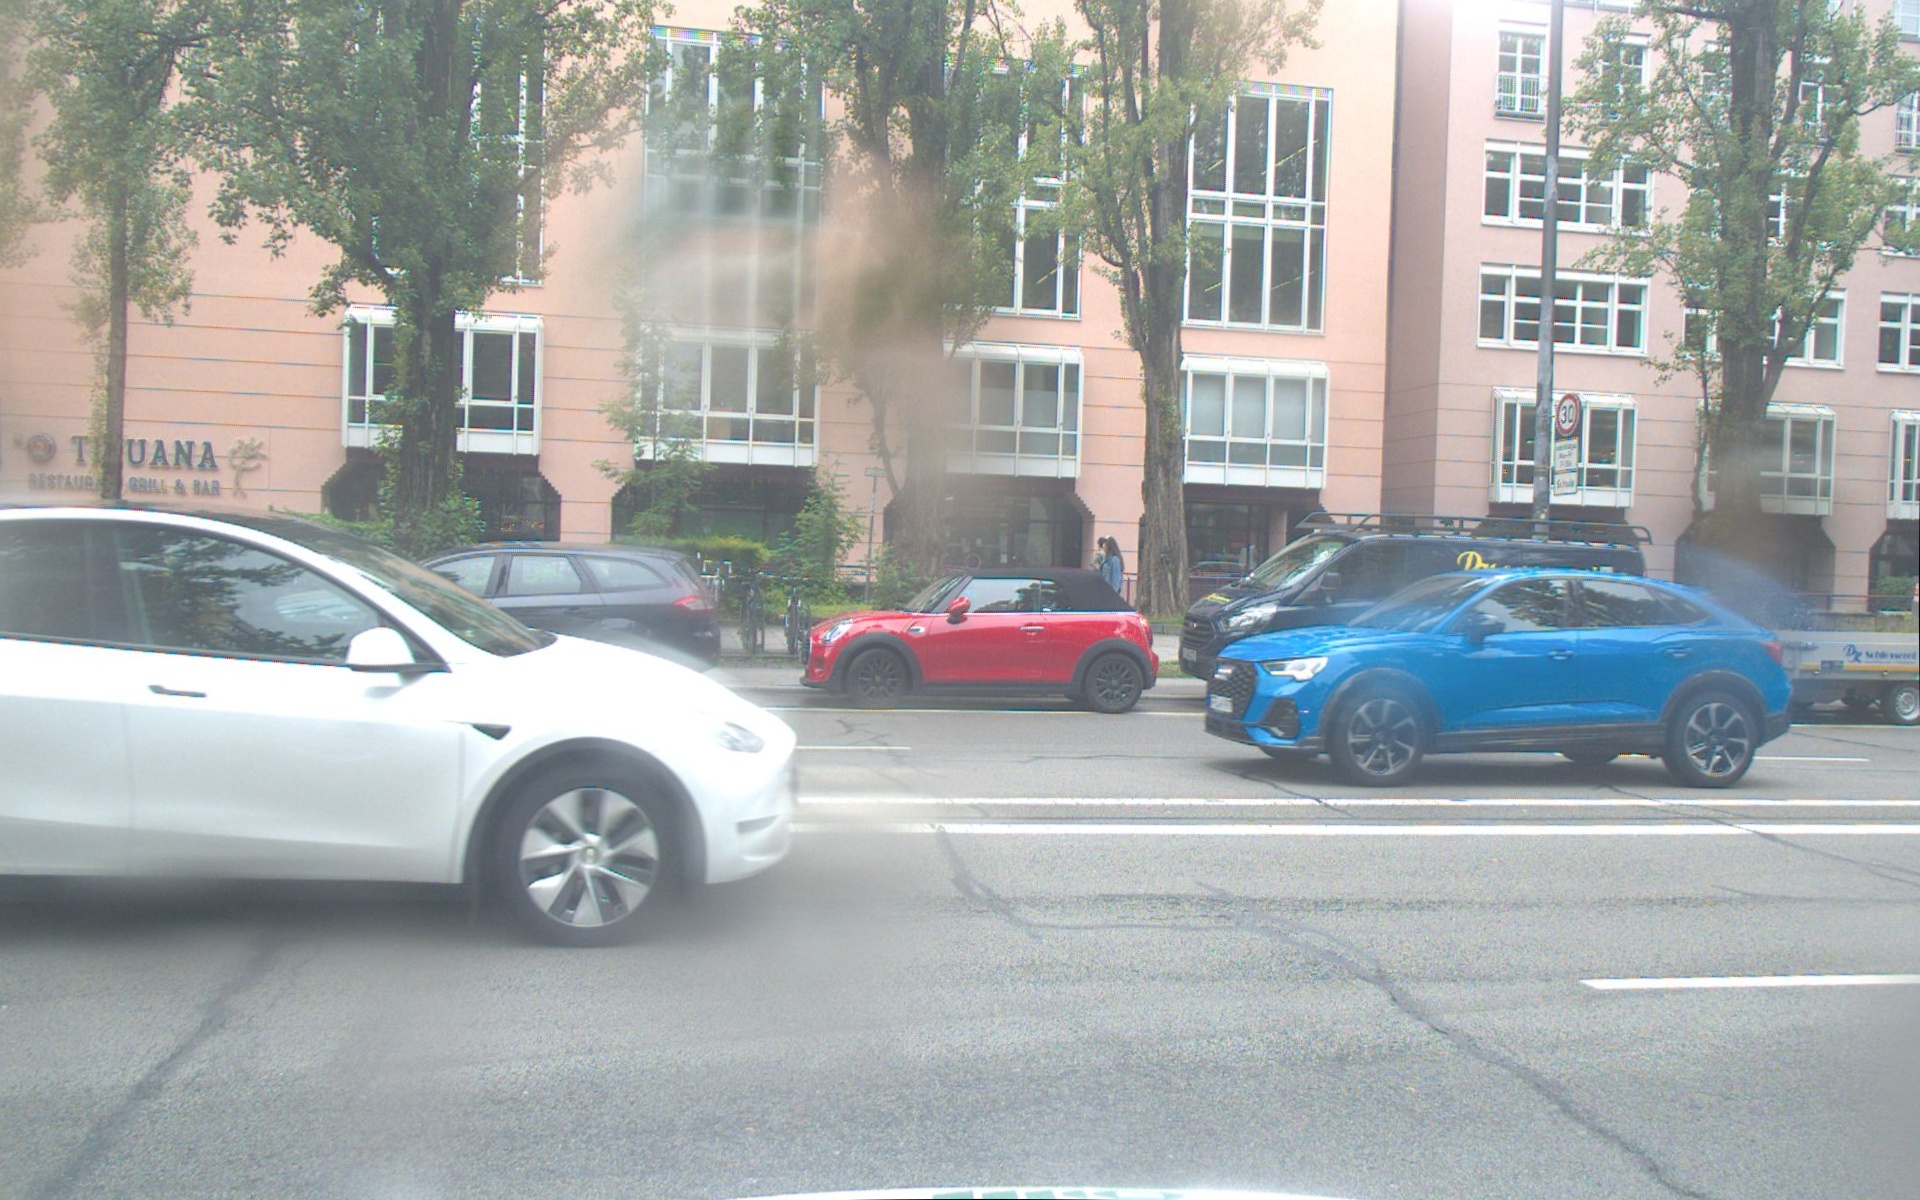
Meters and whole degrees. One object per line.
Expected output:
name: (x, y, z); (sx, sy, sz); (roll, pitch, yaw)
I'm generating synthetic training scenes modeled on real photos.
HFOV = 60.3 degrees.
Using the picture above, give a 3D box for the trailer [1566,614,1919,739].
trailer: (10.615, 0.906, 19.776); (5.909, 1.220, 2.400); (2, 2, -10)

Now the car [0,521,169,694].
car: (-10.145, -0.001, 15.670); (4.419, 1.555, 1.789); (1, 2, -11)

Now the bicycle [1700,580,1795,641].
bicycle: (16.316, 0.204, 34.311); (0.661, 1.144, 2.102); (1, 2, -10)

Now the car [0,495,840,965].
car: (-2.880, 0.421, 6.815); (4.540, 1.602, 1.996); (1, 3, -11)

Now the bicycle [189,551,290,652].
bicycle: (-8.756, -0.010, 20.164); (0.661, 1.144, 1.985); (1, 2, -10)

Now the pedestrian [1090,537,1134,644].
pedestrian: (2.451, -0.162, 26.671); (0.547, 1.692, 0.620); (2, 2, -7)

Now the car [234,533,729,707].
car: (-4.654, 0.177, 16.642); (4.525, 1.555, 1.789); (1, 2, -11)

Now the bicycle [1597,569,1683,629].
bicycle: (13.961, -0.042, 34.021); (0.661, 1.144, 1.985); (1, 2, -10)

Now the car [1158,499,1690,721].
car: (5.135, 0.103, 18.583); (5.380, 2.235, 2.019); (1, 2, -11)

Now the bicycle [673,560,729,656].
bicycle: (-3.326, 0.083, 21.173); (0.661, 1.144, 1.738); (1, 2, -10)

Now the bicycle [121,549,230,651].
bicycle: (-9.457, -0.026, 20.006); (0.661, 1.144, 1.985); (1, 2, -10)

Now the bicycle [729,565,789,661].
bicycle: (-2.611, 0.141, 21.316); (0.661, 1.144, 1.738); (1, 2, -10)

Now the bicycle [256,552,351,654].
bicycle: (-8.019, 0.009, 20.280); (0.661, 1.144, 1.985); (1, 2, -10)

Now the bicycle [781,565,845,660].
bicycle: (-1.923, 0.140, 21.435); (0.661, 1.144, 1.726); (1, 2, -10)

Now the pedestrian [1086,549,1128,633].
pedestrian: (3.134, -0.196, 35.350); (0.693, 1.743, 0.731); (2, 1, -8)

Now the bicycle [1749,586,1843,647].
bicycle: (17.420, 0.328, 34.526); (0.661, 1.144, 1.985); (1, 2, -10)

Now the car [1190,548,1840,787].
car: (4.131, 0.496, 12.612); (4.328, 1.606, 1.867); (2, 0, -10)

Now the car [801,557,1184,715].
car: (0.276, 0.351, 17.394); (3.788, 1.473, 1.675); (2, 2, -8)
